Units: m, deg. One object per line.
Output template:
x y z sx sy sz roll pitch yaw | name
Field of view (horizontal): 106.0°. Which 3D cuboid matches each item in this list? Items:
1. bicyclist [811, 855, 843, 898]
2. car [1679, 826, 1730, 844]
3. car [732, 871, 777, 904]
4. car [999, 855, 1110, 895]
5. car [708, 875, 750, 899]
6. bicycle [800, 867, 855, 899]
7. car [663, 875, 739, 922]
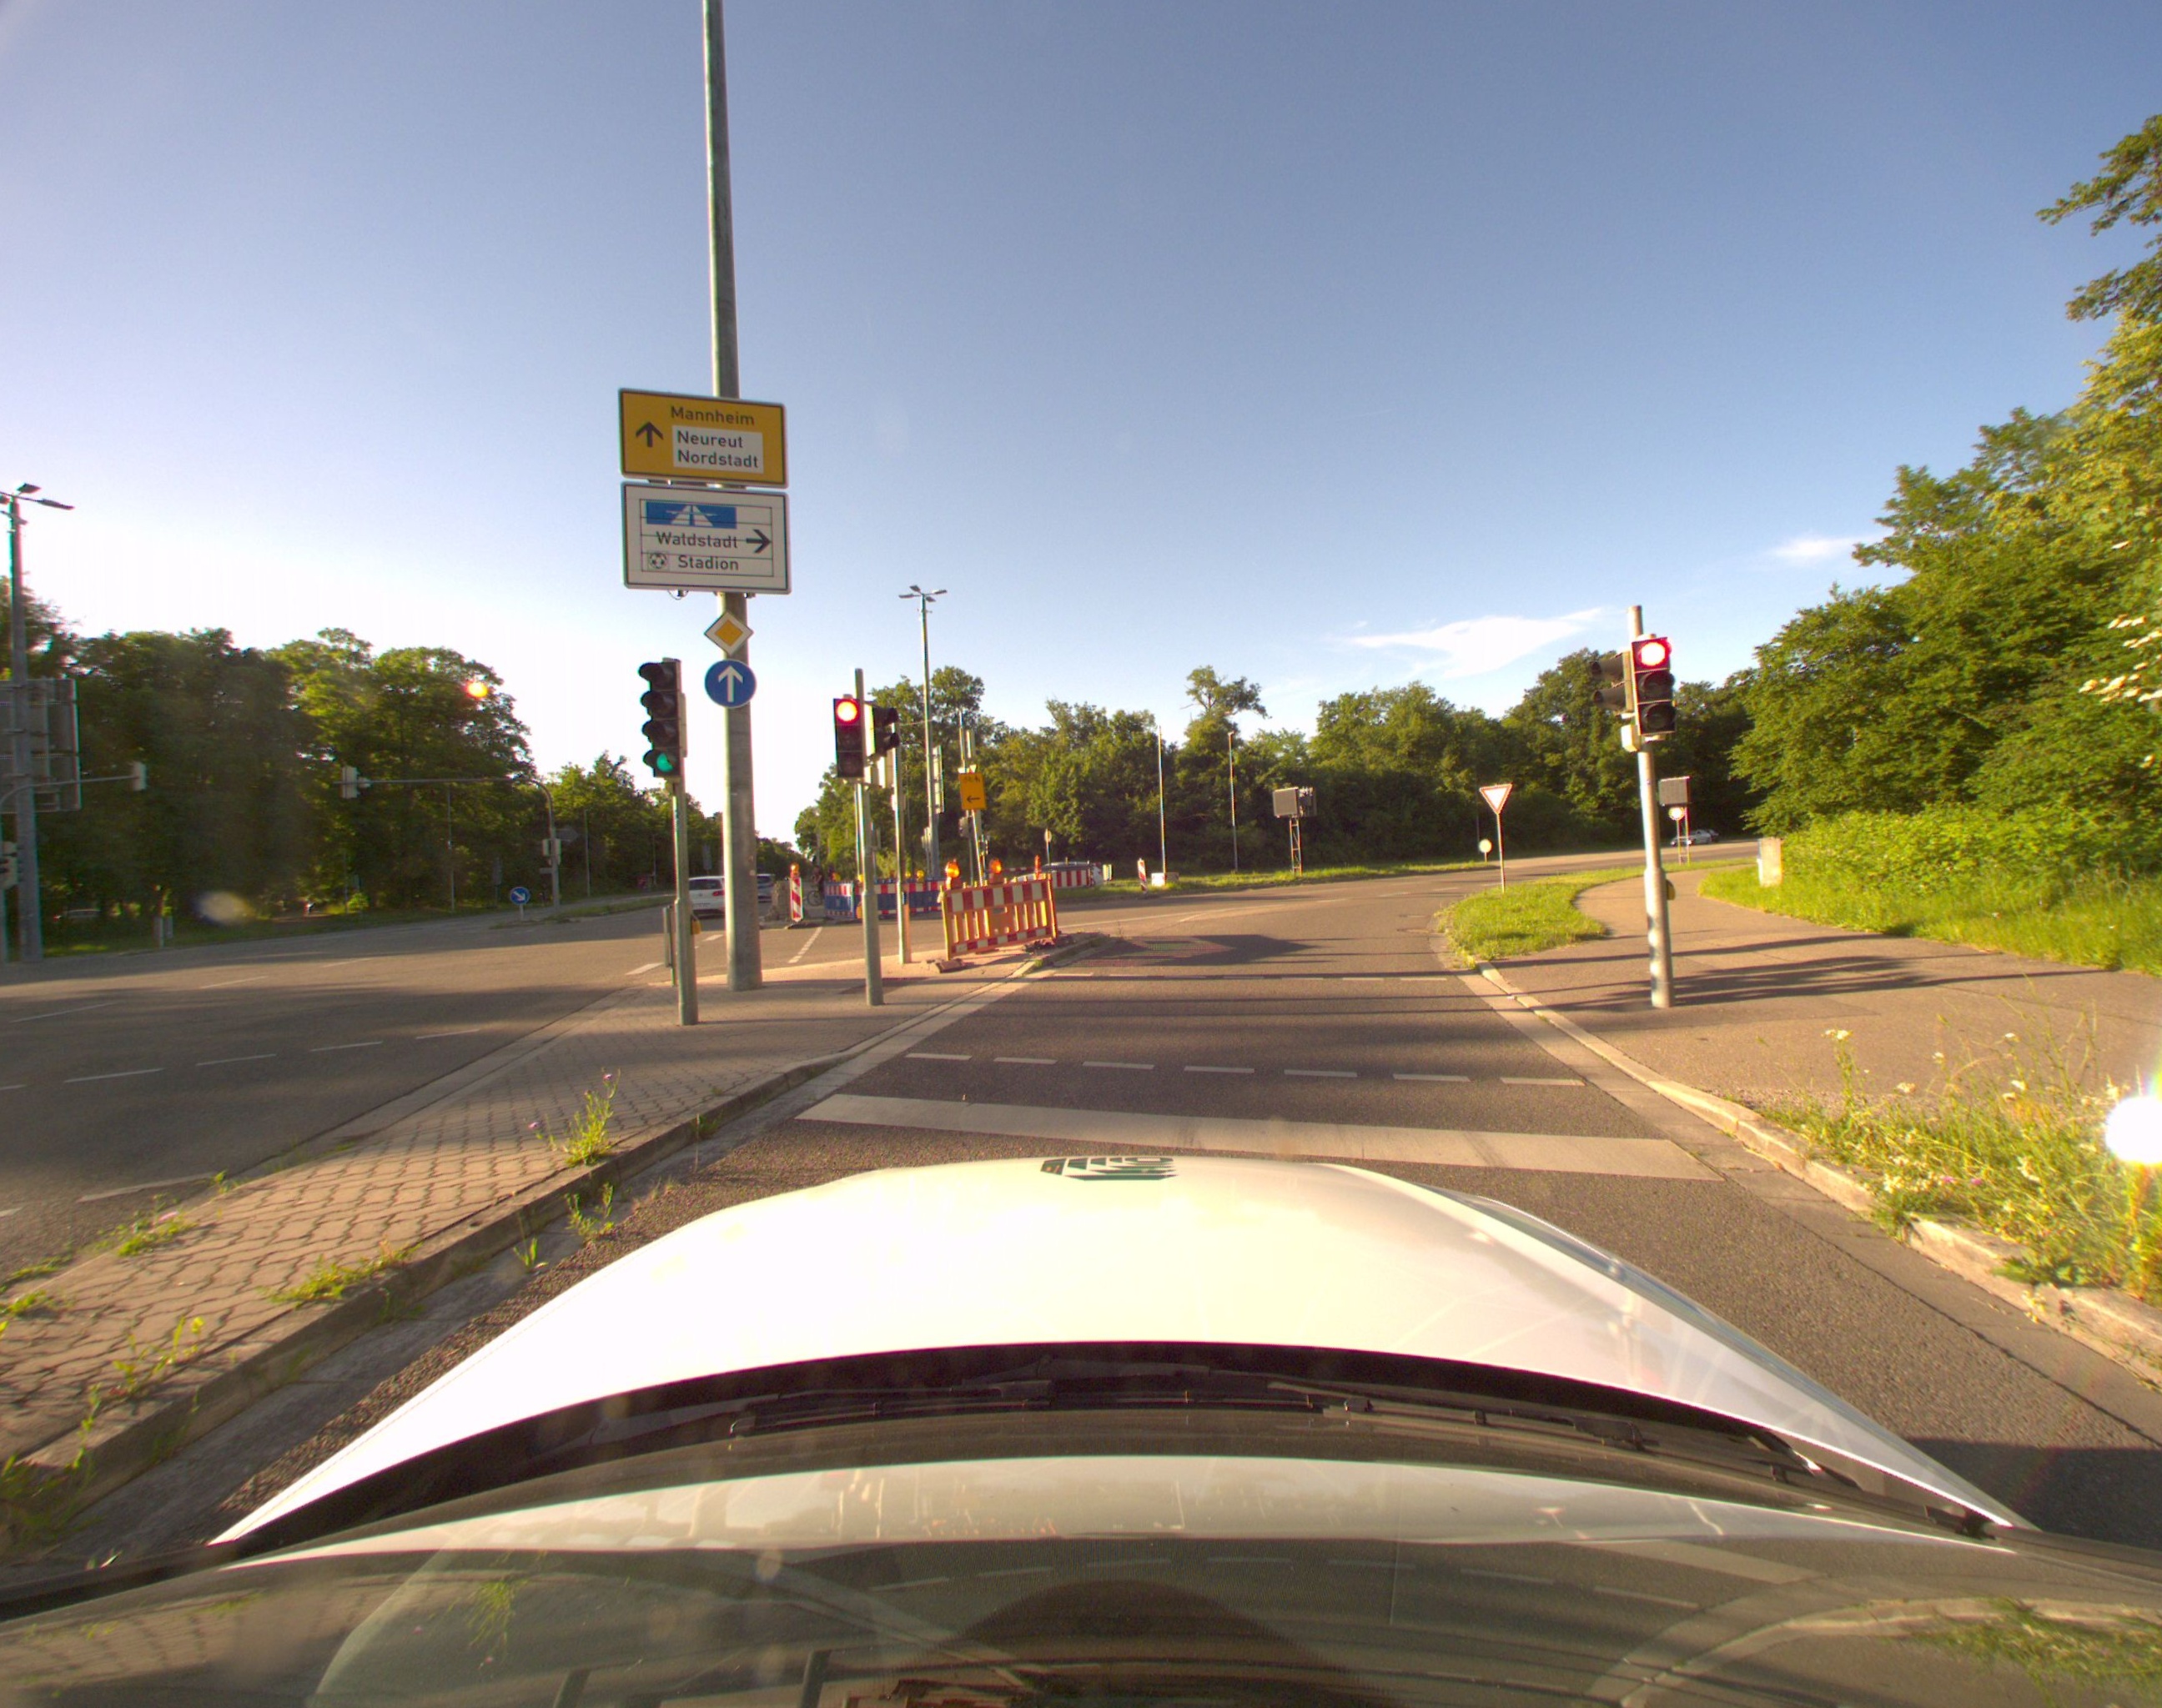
-11.917 1.049 38.209 0.957 1.930 1.022 -2 -1 22 | bicyclist
57.120 -1.716 74.580 4.822 1.436 1.981 -3 -1 -30 | car
-17.538 1.772 43.889 2.000 1.536 3.974 -3 0 -19 | car
-1.180 0.958 37.766 4.856 1.580 1.978 -3 -1 -37 | car
-23.030 2.150 53.424 1.867 1.444 3.979 -2 -1 -15 | car
-11.887 1.344 38.241 0.957 1.383 2.654 -2 -1 22 | bicycle
-13.399 1.519 28.909 1.946 1.414 3.974 -3 0 -19 | car
